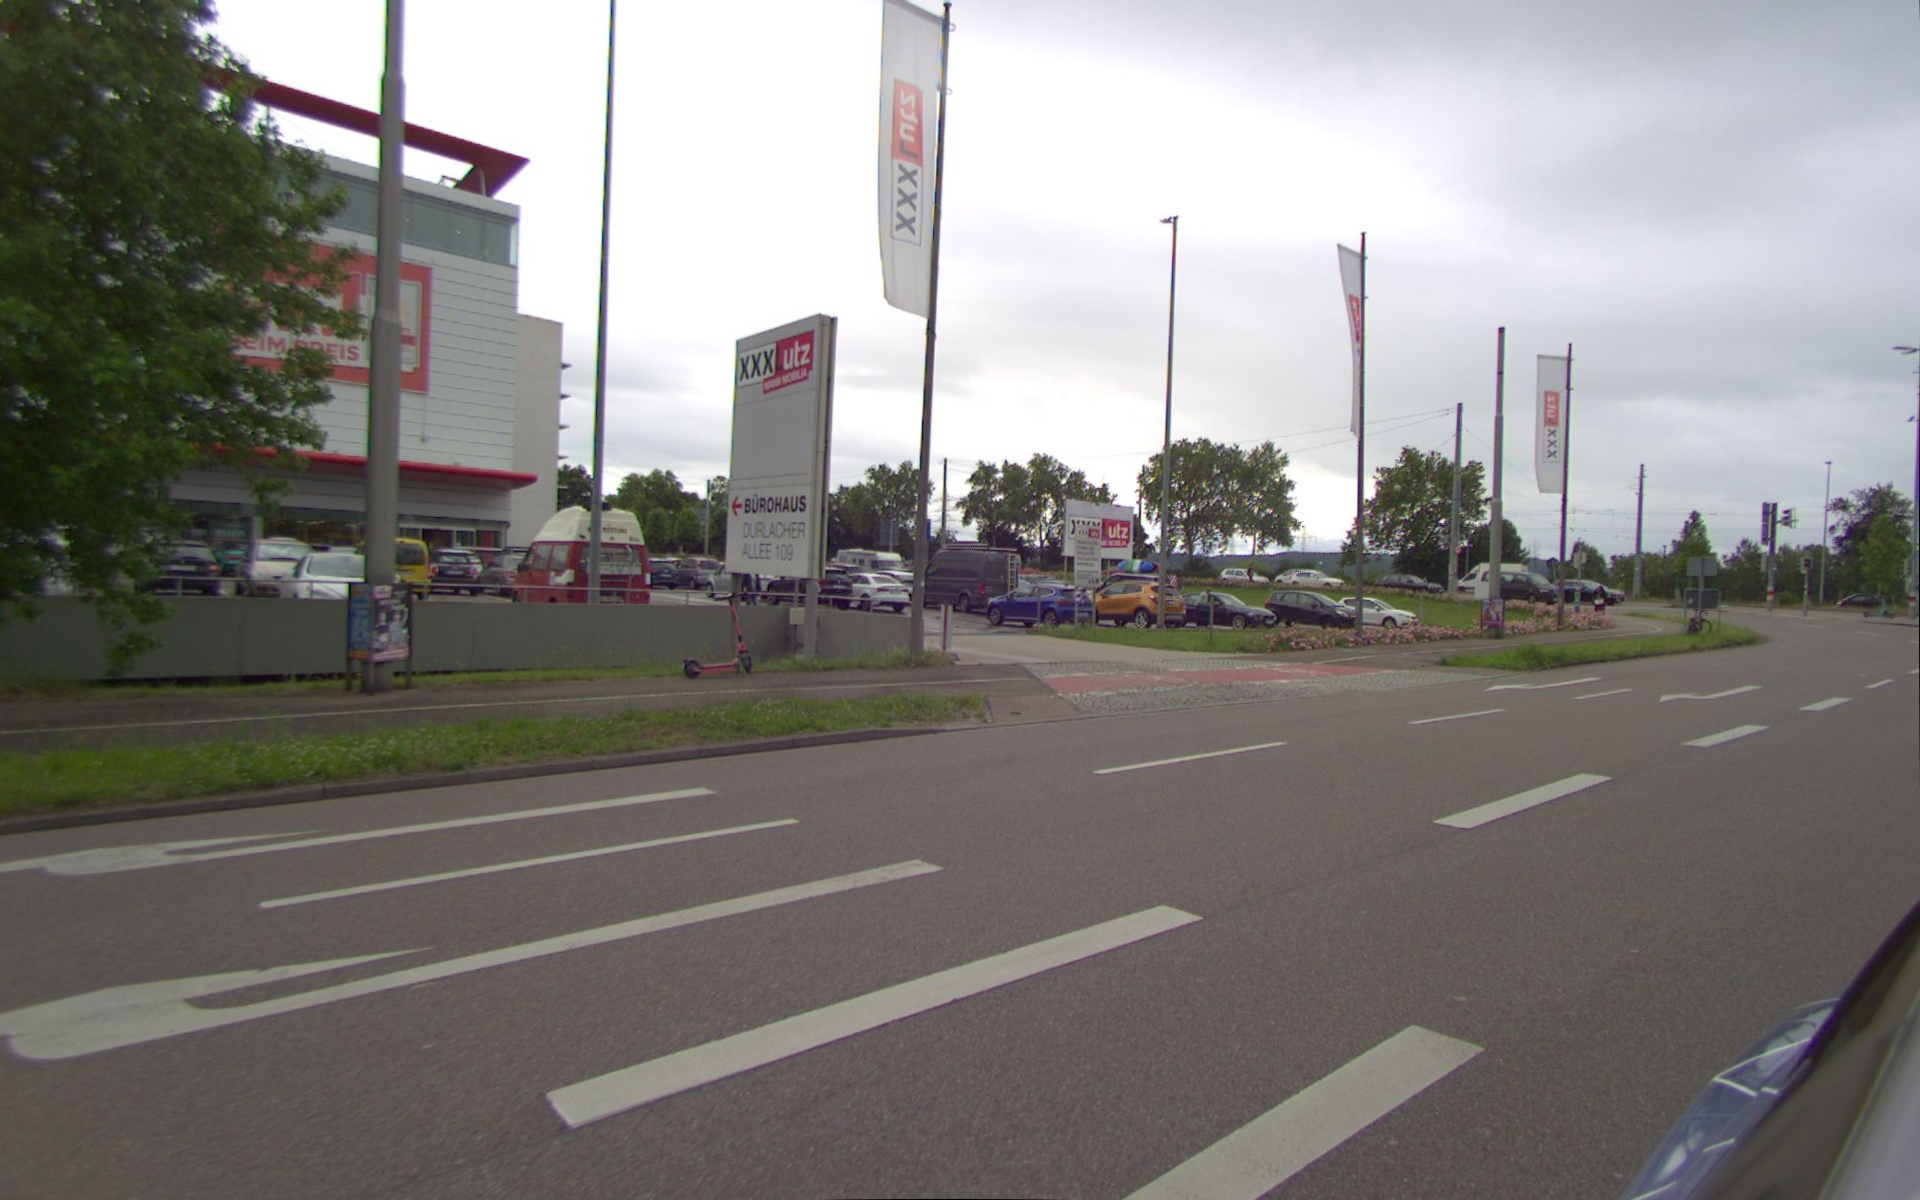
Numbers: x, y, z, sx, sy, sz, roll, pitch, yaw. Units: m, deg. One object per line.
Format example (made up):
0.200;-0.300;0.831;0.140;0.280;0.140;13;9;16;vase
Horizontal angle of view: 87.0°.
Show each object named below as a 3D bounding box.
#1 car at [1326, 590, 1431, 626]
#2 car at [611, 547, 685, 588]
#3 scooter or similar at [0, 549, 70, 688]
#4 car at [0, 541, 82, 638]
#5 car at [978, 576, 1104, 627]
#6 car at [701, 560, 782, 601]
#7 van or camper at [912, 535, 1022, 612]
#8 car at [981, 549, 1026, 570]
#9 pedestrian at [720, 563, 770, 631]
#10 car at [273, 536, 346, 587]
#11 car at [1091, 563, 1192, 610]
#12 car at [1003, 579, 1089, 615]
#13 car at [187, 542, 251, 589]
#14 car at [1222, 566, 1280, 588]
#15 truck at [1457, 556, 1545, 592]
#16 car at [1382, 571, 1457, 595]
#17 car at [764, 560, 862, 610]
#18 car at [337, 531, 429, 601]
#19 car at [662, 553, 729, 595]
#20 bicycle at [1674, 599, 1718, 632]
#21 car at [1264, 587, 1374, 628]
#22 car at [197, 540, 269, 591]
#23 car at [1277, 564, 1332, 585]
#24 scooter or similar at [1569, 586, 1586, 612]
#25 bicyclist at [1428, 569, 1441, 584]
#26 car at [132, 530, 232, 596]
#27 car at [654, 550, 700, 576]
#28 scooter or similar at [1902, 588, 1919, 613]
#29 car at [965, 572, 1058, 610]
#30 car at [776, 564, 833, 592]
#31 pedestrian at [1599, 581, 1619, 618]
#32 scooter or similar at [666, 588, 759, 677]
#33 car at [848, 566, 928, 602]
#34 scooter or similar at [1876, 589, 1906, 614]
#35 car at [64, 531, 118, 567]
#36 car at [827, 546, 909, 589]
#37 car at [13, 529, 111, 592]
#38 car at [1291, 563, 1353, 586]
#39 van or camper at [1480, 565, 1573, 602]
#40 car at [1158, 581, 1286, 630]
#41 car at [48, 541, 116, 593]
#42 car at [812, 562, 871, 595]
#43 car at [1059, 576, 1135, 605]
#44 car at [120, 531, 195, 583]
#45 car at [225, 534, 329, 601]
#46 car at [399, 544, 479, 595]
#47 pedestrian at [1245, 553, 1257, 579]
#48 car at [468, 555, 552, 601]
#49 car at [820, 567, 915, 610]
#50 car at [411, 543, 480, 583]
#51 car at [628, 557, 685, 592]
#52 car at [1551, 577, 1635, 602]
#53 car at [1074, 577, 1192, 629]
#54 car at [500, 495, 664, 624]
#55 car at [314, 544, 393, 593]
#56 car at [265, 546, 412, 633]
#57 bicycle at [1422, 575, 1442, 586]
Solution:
19.527;0.373;47.337;1.842;1.464;4.114;3;0;-41;car
-15.468;-1.619;50.061;1.823;1.798;4.192;2;2;-42;car
-10.494;0.183;10.515;1.783;1.438;0.653;0;2;-31;scooter or similar
-15.885;-0.230;16.671;1.832;1.437;4.478;3;0;-38;car
2.530;0.007;32.500;1.782;1.473;3.997;0;2;-39;car
-9.240;-0.850;42.598;1.663;1.600;3.902;2;1;-40;car
0.208;-1.130;42.754;1.952;3.020;5.401;0;2;-33;van or camper
5.971;-5.597;138.821;5.884;2.658;2.622;4;1;45;car
-5.641;-0.085;26.553;0.870;1.741;0.941;3;-1;-41;pedestrian
-26.578;-1.566;41.285;1.902;1.949;3.993;0;2;-42;car
9.154;-0.723;51.413;2.082;2.192;5.054;0;2;-35;car
3.925;-0.166;46.815;1.910;1.575;4.001;1;1;-34;car
-31.887;-1.473;43.536;1.809;1.893;3.992;0;1;-42;car
23.196;-1.864;80.787;1.717;1.622;4.068;3;0;-42;car
49.543;-2.449;92.735;6.527;2.960;2.782;4;1;45;truck
31.783;-1.184;70.134;1.931;1.482;4.324;1;2;-35;car
-5.591;-0.597;38.294;1.799;1.674;3.899;2;2;-41;car
-16.582;-0.967;29.025;1.701;1.790;3.746;3;0;-38;car
-13.639;-1.328;52.032;1.850;2.073;3.996;0;1;-39;car
24.920;0.515;34.256;1.659;1.061;0.666;0;2;-34;bicycle
15.503;0.294;43.843;1.740;1.603;4.097;2;0;-43;car
-28.273;-1.313;39.318;1.810;1.863;3.992;0;1;-43;car
36.324;-2.725;106.710;5.097;1.903;2.071;4;1;39;car
30.818;-0.048;50.522;0.341;1.248;1.161;0;1;11;scooter or similar
46.712;-2.319;99.618;0.964;1.470;0.682;4;4;41;bicyclist
-20.168;-0.937;26.174;1.855;1.553;3.995;0;1;-40;car
-19.051;-2.467;68.040;1.621;1.579;3.614;2;2;-38;car
50.416;0.052;53.338;0.455;1.271;1.020;0;3;-26;scooter or similar
2.258;-0.420;44.891;1.964;1.588;3.996;0;1;-39;car
-9.677;-1.364;62.664;1.746;1.550;3.999;1;2;-38;car
29.667;-0.027;46.281;0.711;1.616;0.775;1;3;32;pedestrian
-3.526;0.457;14.480;1.226;1.206;0.371;1;1;-40;scooter or similar
-3.408;-0.760;47.363;1.821;1.575;3.997;0;1;-39;car
49.489;0.059;53.810;0.314;1.271;1.118;-1;3;-26;scooter or similar
-41.520;-2.411;48.407;1.797;1.573;3.802;1;1;-39;car
-7.281;-2.545;78.981;2.720;3.027;6.941;3;0;-41;car
-25.343;-1.081;28.681;1.813;1.646;3.997;0;1;-38;car
27.139;-1.910;75.952;1.702;1.558;4.042;3;1;-40;car
35.353;-1.090;63.317;2.080;2.037;4.765;-1;4;-24;van or camper
9.981;0.152;38.800;4.528;1.602;1.742;3;6;45;car
-32.485;-1.208;37.522;1.755;1.843;3.996;0;1;-39;car
-7.506;-1.350;63.976;1.914;1.952;3.999;0;2;-37;car
7.650;-0.539;56.707;1.713;1.494;4.209;0;2;-38;car
-30.382;-1.606;38.268;1.857;1.845;3.991;0;1;-44;car
-18.656;-0.883;27.581;1.846;1.616;3.994;3;0;-41;car
-18.060;-1.039;35.020;1.754;1.655;3.998;0;1;-38;car
21.198;-2.481;73.649;0.623;1.804;0.546;3;-1;0;pedestrian
-16.156;-0.781;36.237;1.707;1.487;4.250;3;-1;-38;car
-3.710;-0.490;40.026;1.830;1.571;3.997;0;2;-39;car
-22.556;-1.605;44.318;1.803;1.675;3.994;0;1;-41;car
-16.713;-1.410;55.668;1.780;1.865;3.688;0;2;-38;car
40.324;-0.676;64.576;1.800;1.482;4.214;1;1;-27;car
6.043;0.057;35.759;1.781;1.663;4.001;0;2;-35;car
-8.854;-0.898;23.434;2.130;2.612;4.735;3;0;-38;car
-19.808;-1.015;33.001;1.754;1.513;3.998;0;1;-38;car
-12.321;-0.231;19.931;1.924;1.479;4.386;3;0;-38;car
46.546;-1.921;99.834;1.703;1.058;0.541;5;5;42;bicycle
